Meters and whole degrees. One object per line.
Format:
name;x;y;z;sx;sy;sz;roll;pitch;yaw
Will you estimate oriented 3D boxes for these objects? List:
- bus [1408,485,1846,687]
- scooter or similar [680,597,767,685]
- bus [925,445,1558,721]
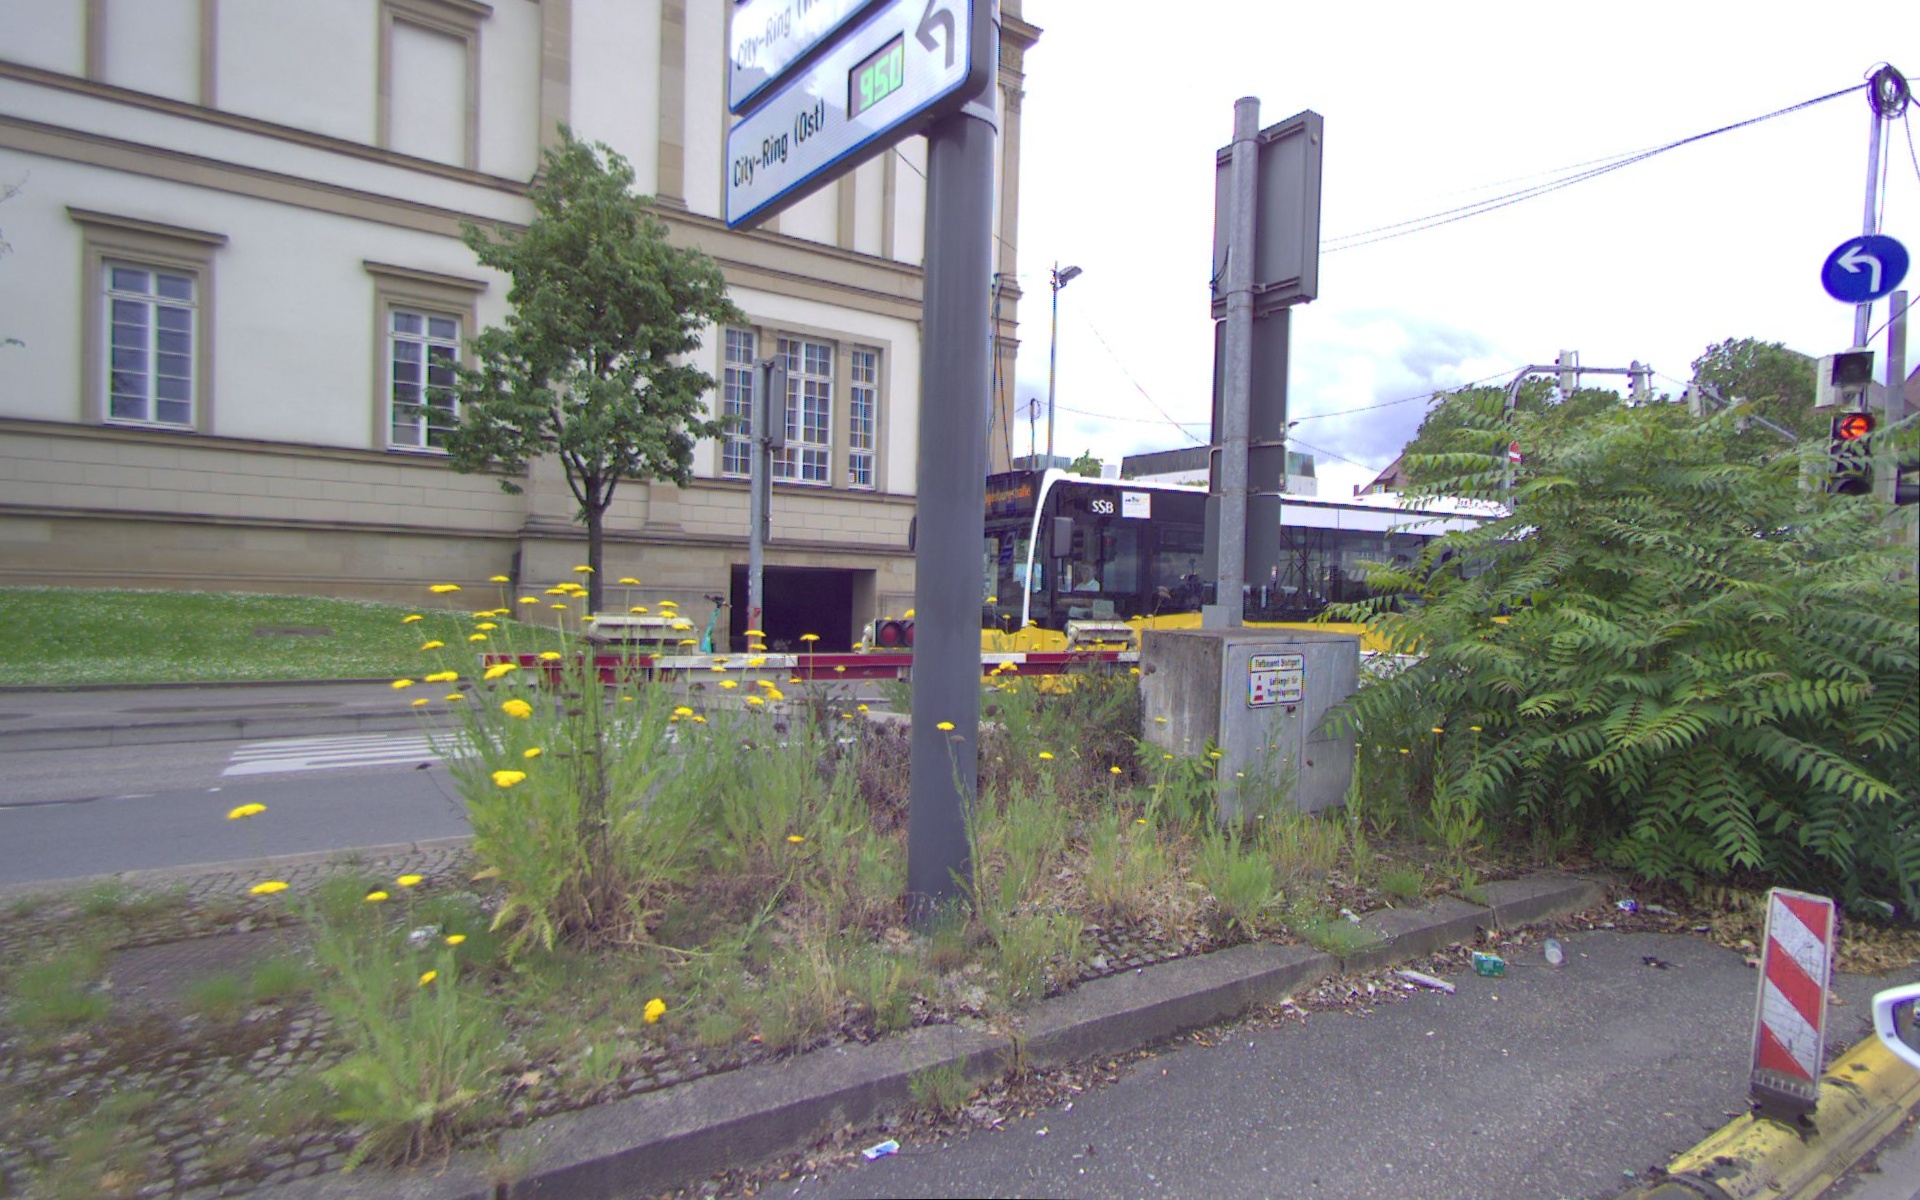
bus;12.804;-0.160;19.027;9.004;3.156;2.835;1;1;-27
scooter or similar;-3.518;0.604;15.028;1.132;1.190;0.540;6;0;-11
bus;4.458;-0.134;14.916;9.621;3.156;2.835;1;1;-27
